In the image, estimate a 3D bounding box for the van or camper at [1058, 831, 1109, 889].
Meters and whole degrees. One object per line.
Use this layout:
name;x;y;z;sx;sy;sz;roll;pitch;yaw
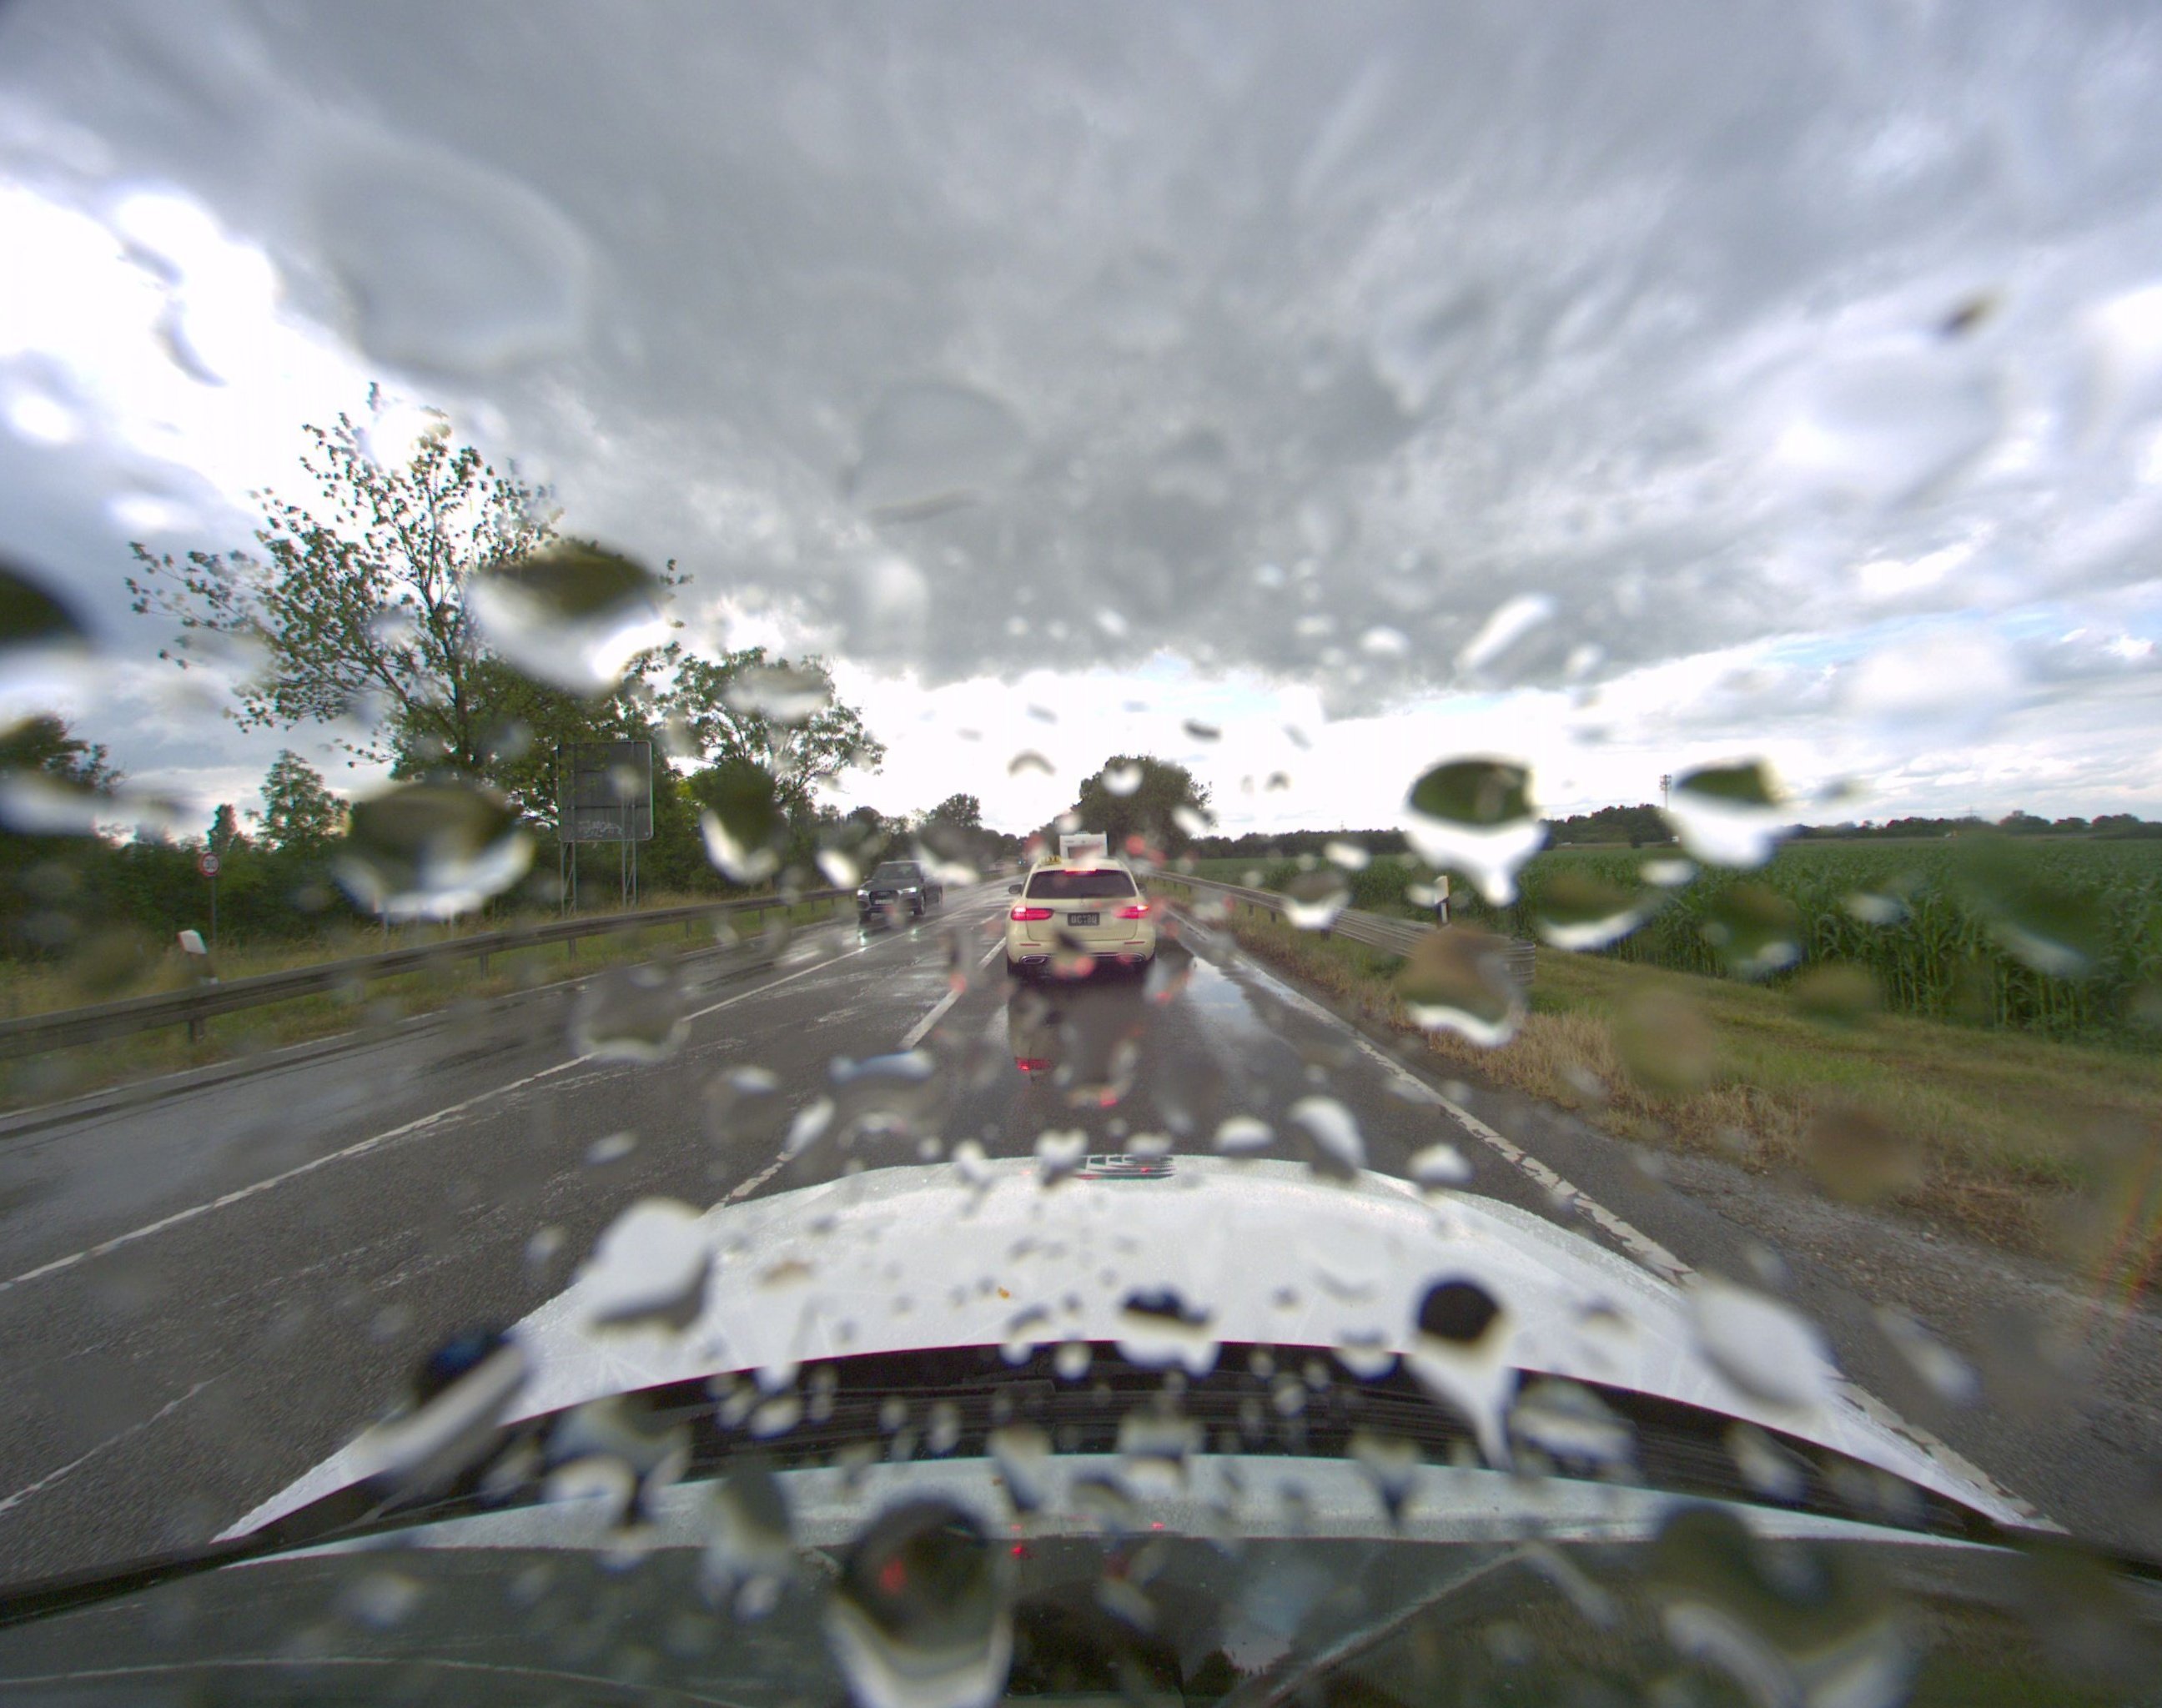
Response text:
van or camper;0.175;0.268;41.458;2.342;2.680;5.768;-2;0;1

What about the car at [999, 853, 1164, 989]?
car;0.067;0.761;11.194;1.818;1.485;4.146;-1;0;2

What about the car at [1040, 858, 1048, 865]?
car;-10.773;2.199;237.497;1.990;2.013;3.993;-1;0;-5

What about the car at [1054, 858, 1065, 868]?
car;-4.442;1.879;166.503;1.990;2.014;3.994;-1;0;-4

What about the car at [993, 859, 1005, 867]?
car;-18.316;1.983;182.205;1.986;1.651;4.002;-1;0;2

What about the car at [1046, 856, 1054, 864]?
car;-7.761;1.532;202.275;1.988;2.014;3.997;-1;0;-2

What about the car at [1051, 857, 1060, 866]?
car;-5.967;1.698;190.031;1.986;2.051;4.001;-1;0;1

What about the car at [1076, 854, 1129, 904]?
car;0.709;0.789;27.545;1.622;1.529;3.932;-2;0;1

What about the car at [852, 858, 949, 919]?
car;-5.173;0.946;23.916;1.762;1.523;4.142;-3;0;1
